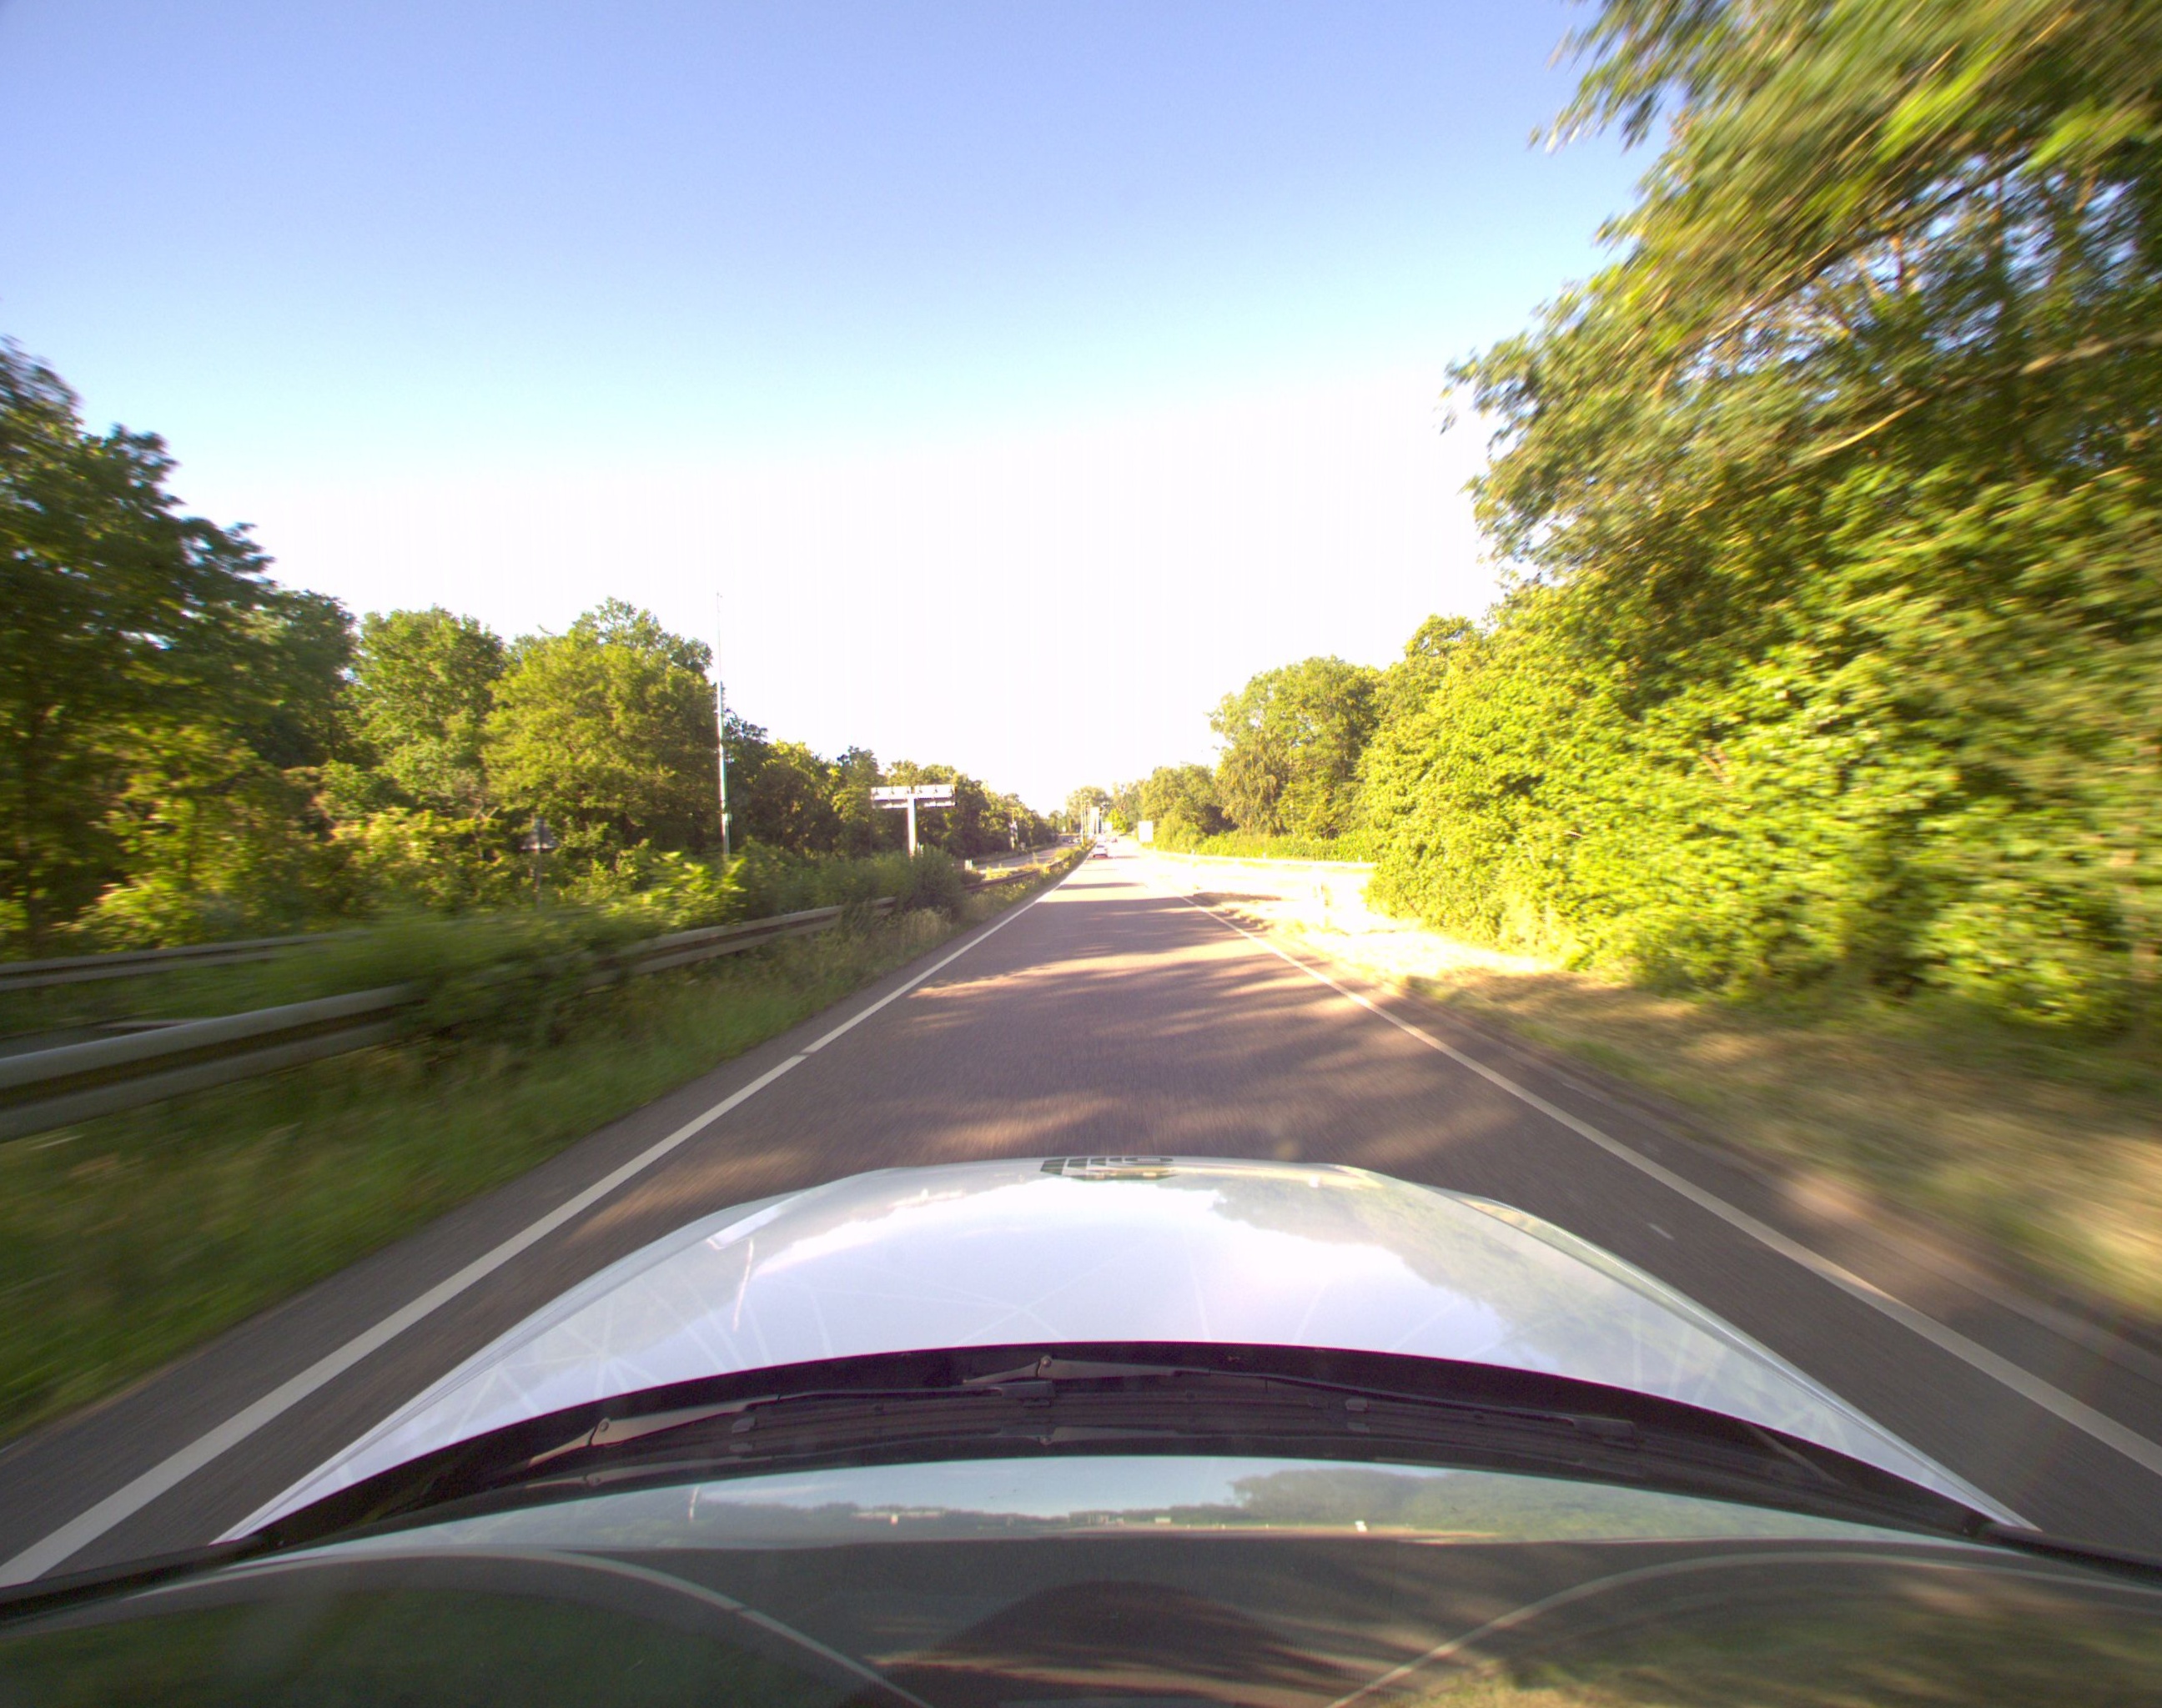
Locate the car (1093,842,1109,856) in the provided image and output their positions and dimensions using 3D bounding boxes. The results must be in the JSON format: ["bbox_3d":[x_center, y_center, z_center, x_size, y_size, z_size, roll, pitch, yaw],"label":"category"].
[{"bbox_3d":[2.565,-0.649,105.991,1.879,1.815,3.998,0,0,-2],"label":"car"}]

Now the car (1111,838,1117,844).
[{"bbox_3d":[9.905,-3.935,243.009,1.790,1.829,3.420,1,0,3],"label":"car"}]
